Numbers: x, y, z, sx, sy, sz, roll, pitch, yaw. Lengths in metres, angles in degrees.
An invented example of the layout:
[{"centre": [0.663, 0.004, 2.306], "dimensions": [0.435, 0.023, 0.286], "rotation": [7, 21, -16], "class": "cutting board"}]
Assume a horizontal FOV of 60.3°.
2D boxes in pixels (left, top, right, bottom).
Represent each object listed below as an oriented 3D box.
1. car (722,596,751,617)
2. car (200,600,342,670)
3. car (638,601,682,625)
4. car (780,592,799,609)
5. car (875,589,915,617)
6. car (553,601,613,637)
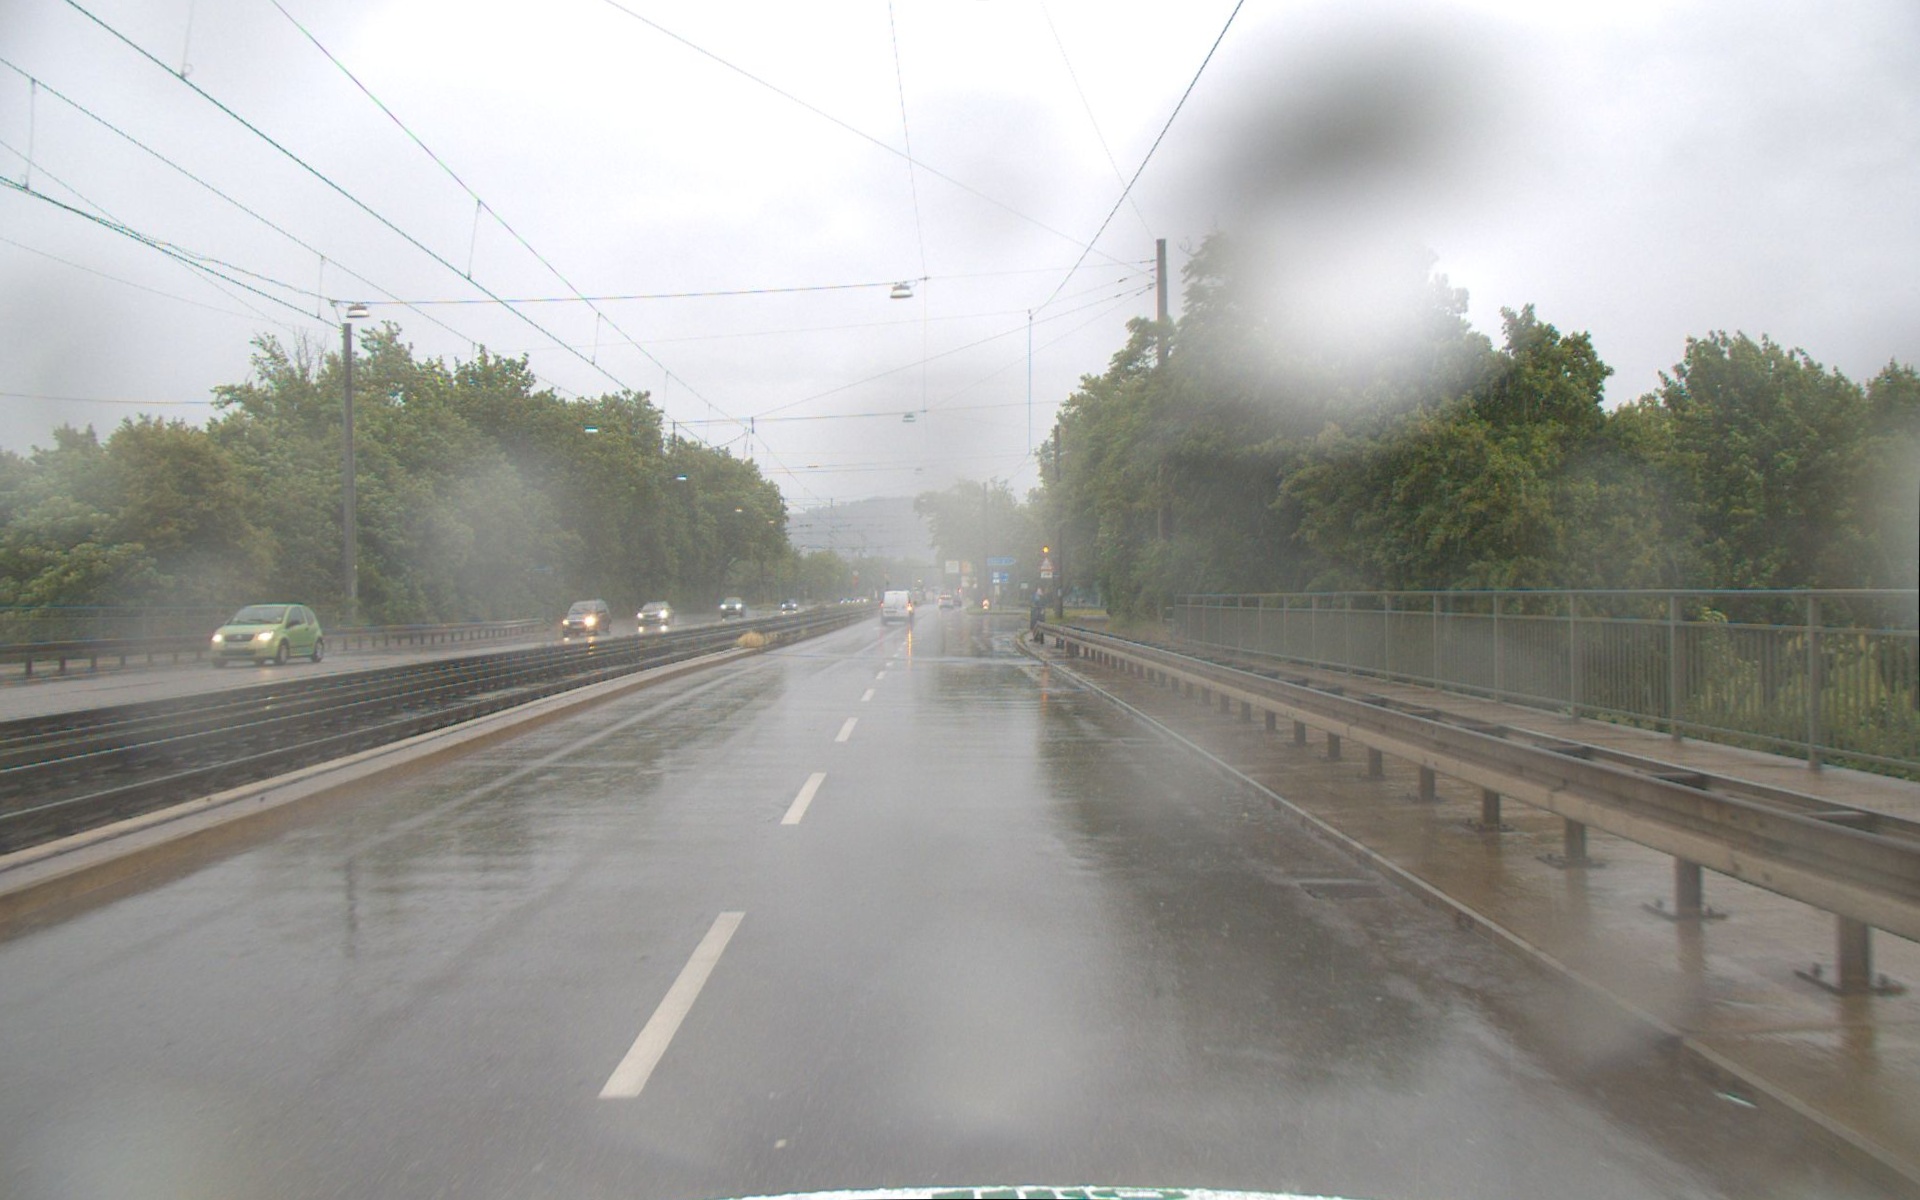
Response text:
[{"centre": [-18.757, 0.534, 138.899], "dimensions": [1.953, 1.702, 4.870], "rotation": [0, 0, -2], "class": "car"}, {"centre": [-16.671, 0.817, 40.222], "dimensions": [1.808, 1.622, 3.999], "rotation": [0, 0, -1], "class": "car"}, {"centre": [-18.366, 0.787, 101.388], "dimensions": [1.953, 1.413, 4.851], "rotation": [0, 0, -2], "class": "car"}, {"centre": [-20.645, 0.063, 200.471], "dimensions": [1.954, 1.813, 3.999], "rotation": [4, 0, -1], "class": "car"}, {"centre": [-3.533, 0.157, 90.342], "dimensions": [2.035, 1.445, 3.999], "rotation": [-2, 0, -1], "class": "car"}, {"centre": [-17.366, 0.857, 76.407], "dimensions": [1.803, 1.601, 4.384], "rotation": [0, 0, -1], "class": "car"}]
